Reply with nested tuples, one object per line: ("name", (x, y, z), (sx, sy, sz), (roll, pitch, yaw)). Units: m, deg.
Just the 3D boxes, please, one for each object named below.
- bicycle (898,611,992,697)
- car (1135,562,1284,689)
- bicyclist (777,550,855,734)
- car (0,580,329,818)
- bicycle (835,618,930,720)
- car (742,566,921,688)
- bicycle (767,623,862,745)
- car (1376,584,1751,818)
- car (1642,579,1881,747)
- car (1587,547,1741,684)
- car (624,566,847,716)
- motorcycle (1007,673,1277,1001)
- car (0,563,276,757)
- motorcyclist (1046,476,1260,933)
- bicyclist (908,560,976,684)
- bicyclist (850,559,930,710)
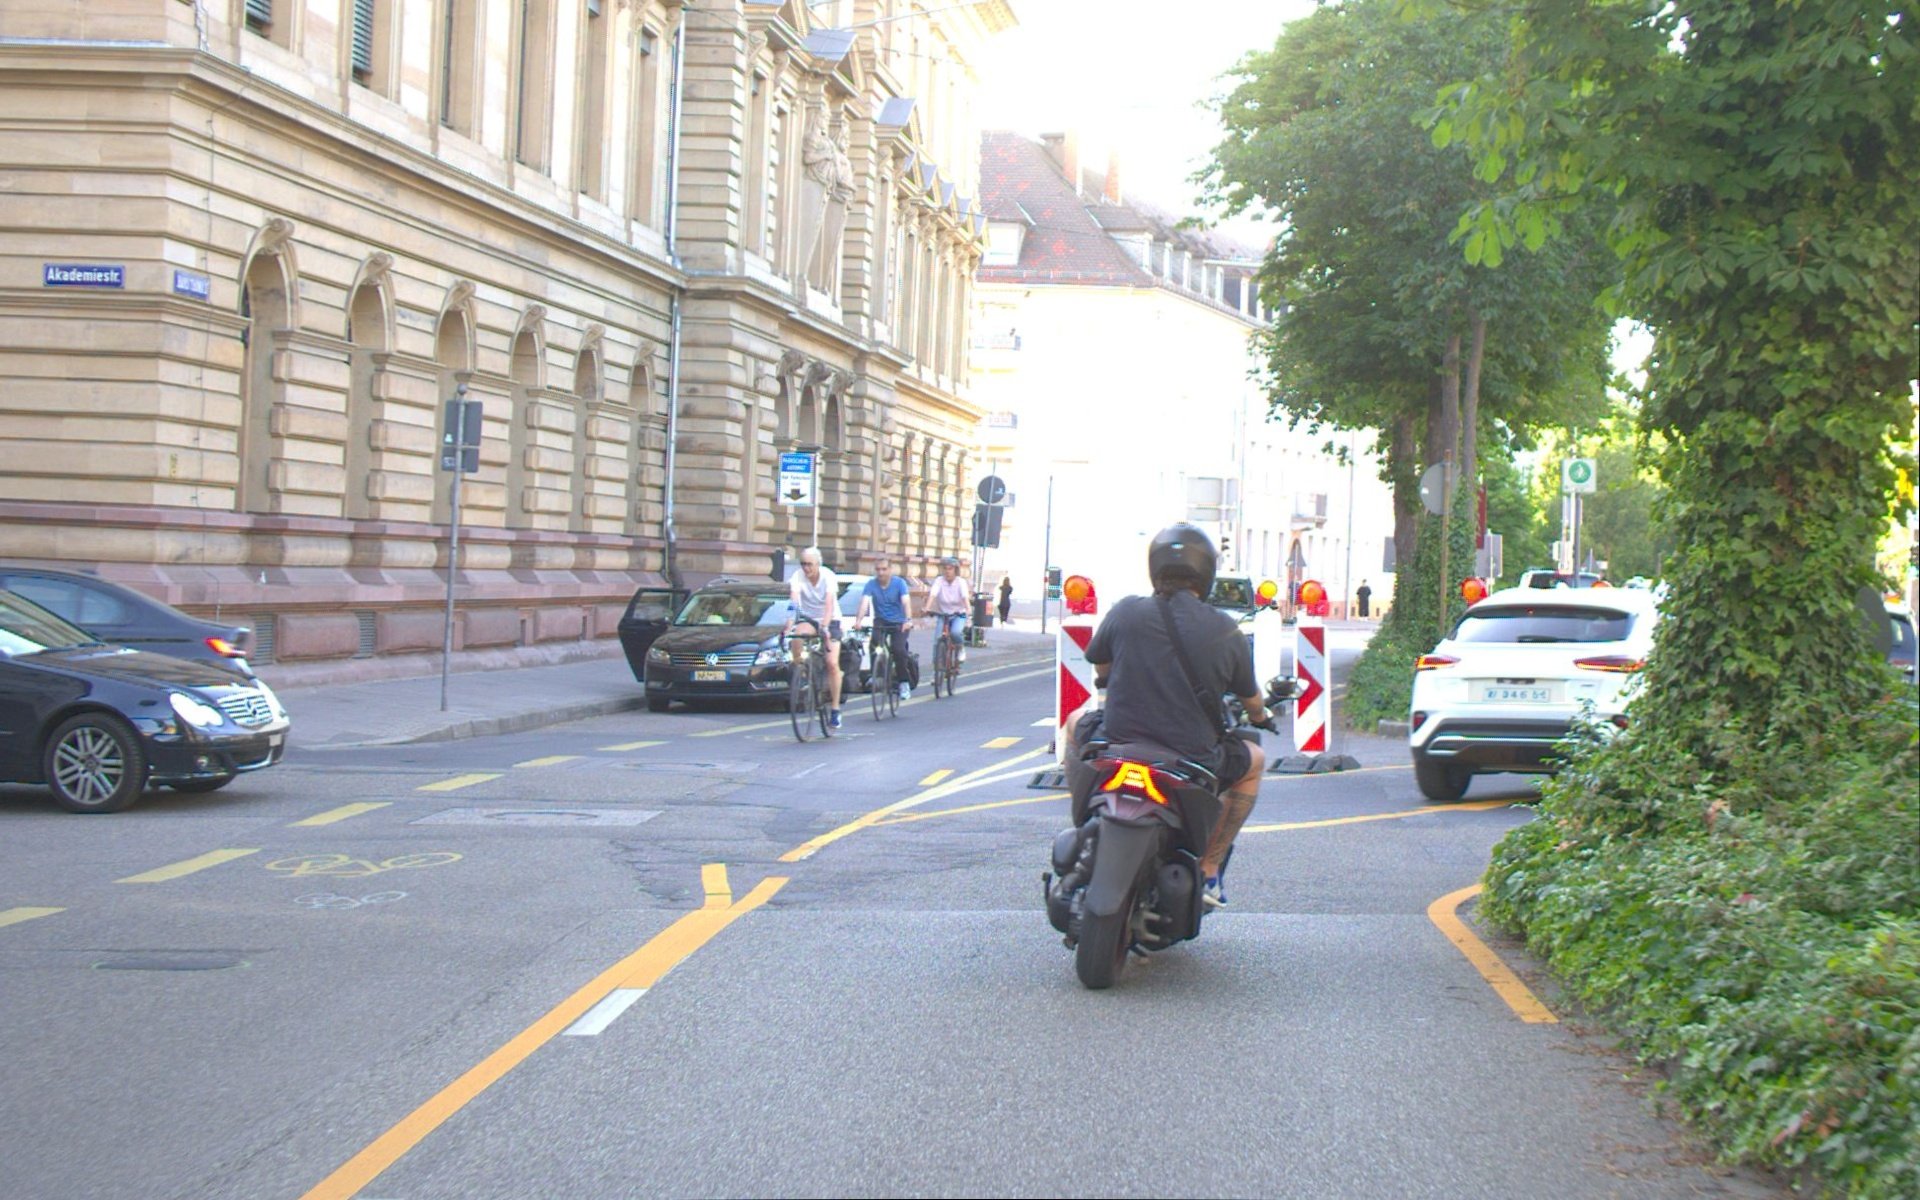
("bicycle", (-0.179, 0.676, 43.644), (0.533, 1.031, 2.034), (1, 1, 19))
("car", (3.527, 0.329, 49.144), (1.994, 1.689, 4.399), (1, 1, 3))
("bicyclist", (-1.322, 0.379, 31.656), (0.566, 1.661, 0.834), (1, 0, 6))
("car", (-6.409, 0.571, 21.965), (4.315, 1.385, 1.775), (1, 1, 9))
("bicycle", (-0.830, 0.735, 37.140), (0.533, 1.031, 1.906), (1, 1, 14))
("car", (-1.683, 0.324, 46.387), (1.994, 1.523, 4.184), (1, 1, 3))
("bicycle", (-1.326, 0.755, 31.647), (0.583, 1.031, 2.128), (1, 1, 5))
("car", (4.393, 0.644, 24.549), (1.853, 1.475, 4.053), (1, 1, 22))
("car", (7.882, 0.579, 34.132), (1.841, 1.458, 4.056), (3, 1, 7))
("car", (10.675, 0.217, 52.356), (1.841, 1.906, 4.056), (3, 1, 7))
("car", (-2.483, 0.421, 39.043), (1.994, 1.561, 4.288), (1, 1, 3))
("motorcycle", (0.716, 0.851, 12.961), (0.797, 1.062, 1.724), (3, 1, 9))
("car", (-7.665, 0.439, 26.813), (4.453, 1.456, 1.776), (1, 1, -15))
("motorcyclist", (0.736, 0.380, 12.979), (0.657, 1.645, 0.650), (3, 0, 9))
("bicyclist", (-0.229, 0.271, 43.603), (0.629, 1.548, 0.731), (1, 0, 19))
("bicyclist", (-0.752, 0.365, 37.196), (0.628, 1.608, 0.869), (1, 0, 14))
